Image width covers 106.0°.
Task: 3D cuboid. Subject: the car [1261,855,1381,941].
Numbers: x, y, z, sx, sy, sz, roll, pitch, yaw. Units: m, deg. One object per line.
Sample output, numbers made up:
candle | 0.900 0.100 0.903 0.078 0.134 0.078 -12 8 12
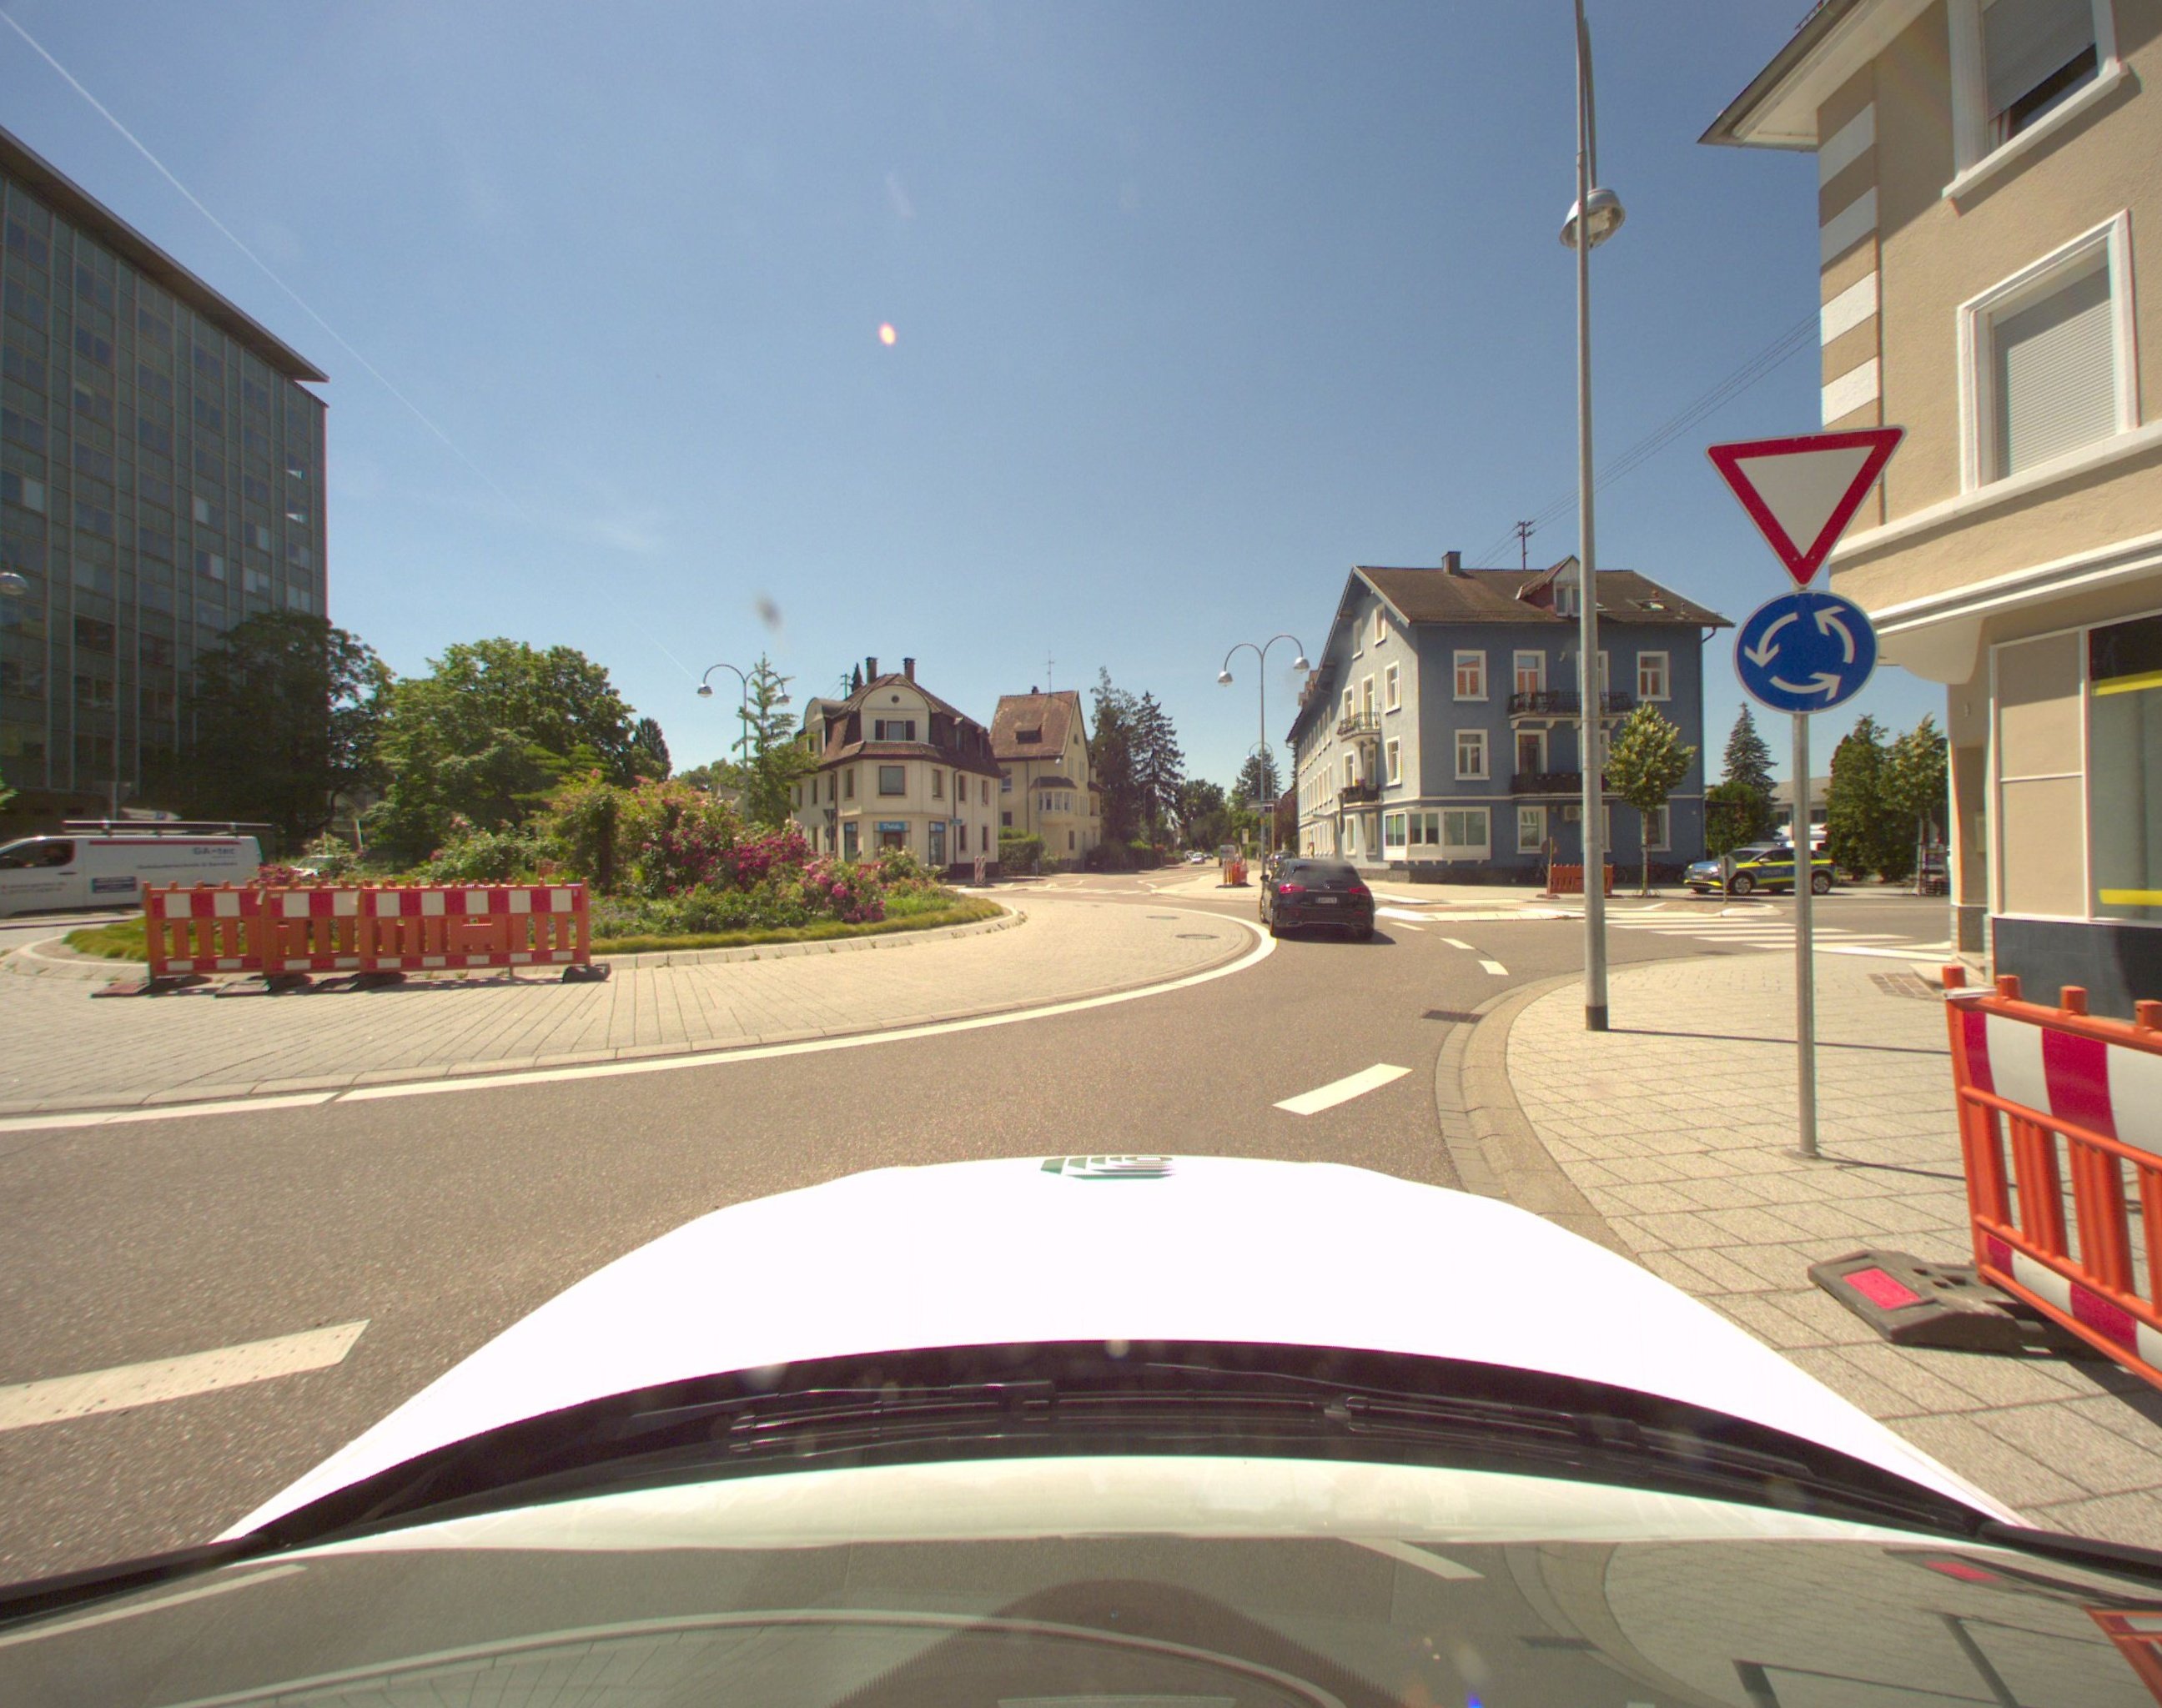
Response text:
car | 4.588 0.754 15.750 1.939 1.427 4.016 0 0 15

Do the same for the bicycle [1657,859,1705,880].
bicycle | 25.797 0.672 35.023 1.703 0.907 0.481 0 1 -2

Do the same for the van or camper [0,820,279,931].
van or camper | -21.449 0.430 17.637 1.975 2.172 5.446 -1 0 28

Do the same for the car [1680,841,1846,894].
car | 23.289 0.445 27.910 4.225 1.743 1.905 0 0 -3

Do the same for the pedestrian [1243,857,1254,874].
pedestrian | 12.848 0.885 62.432 0.661 1.286 0.590 -4 -1 19

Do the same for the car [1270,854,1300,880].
car | 12.889 0.787 51.510 1.629 1.507 3.575 -4 -1 12

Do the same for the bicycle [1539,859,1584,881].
bicycle | 20.536 0.691 34.814 1.703 0.907 0.440 0 1 -2

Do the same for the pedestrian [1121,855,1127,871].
pedestrian | 4.093 0.854 77.521 0.518 1.509 0.475 0 -1 17

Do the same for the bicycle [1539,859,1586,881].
bicycle | 20.291 0.685 34.328 1.703 0.907 0.440 0 1 -2

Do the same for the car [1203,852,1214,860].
car | 27.338 0.478 174.502 1.981 1.717 4.012 0 -1 11

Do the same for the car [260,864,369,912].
car | -27.763 1.185 29.652 1.794 1.597 3.887 -1 -1 -26

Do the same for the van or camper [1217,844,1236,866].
van or camper | 17.496 0.169 98.007 2.192 2.611 4.011 0 -1 10

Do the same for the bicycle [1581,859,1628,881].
bicycle | 22.298 0.679 34.714 1.703 0.907 0.481 0 1 -2

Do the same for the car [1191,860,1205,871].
car | 18.135 1.755 125.888 1.981 1.651 4.011 0 -1 10
